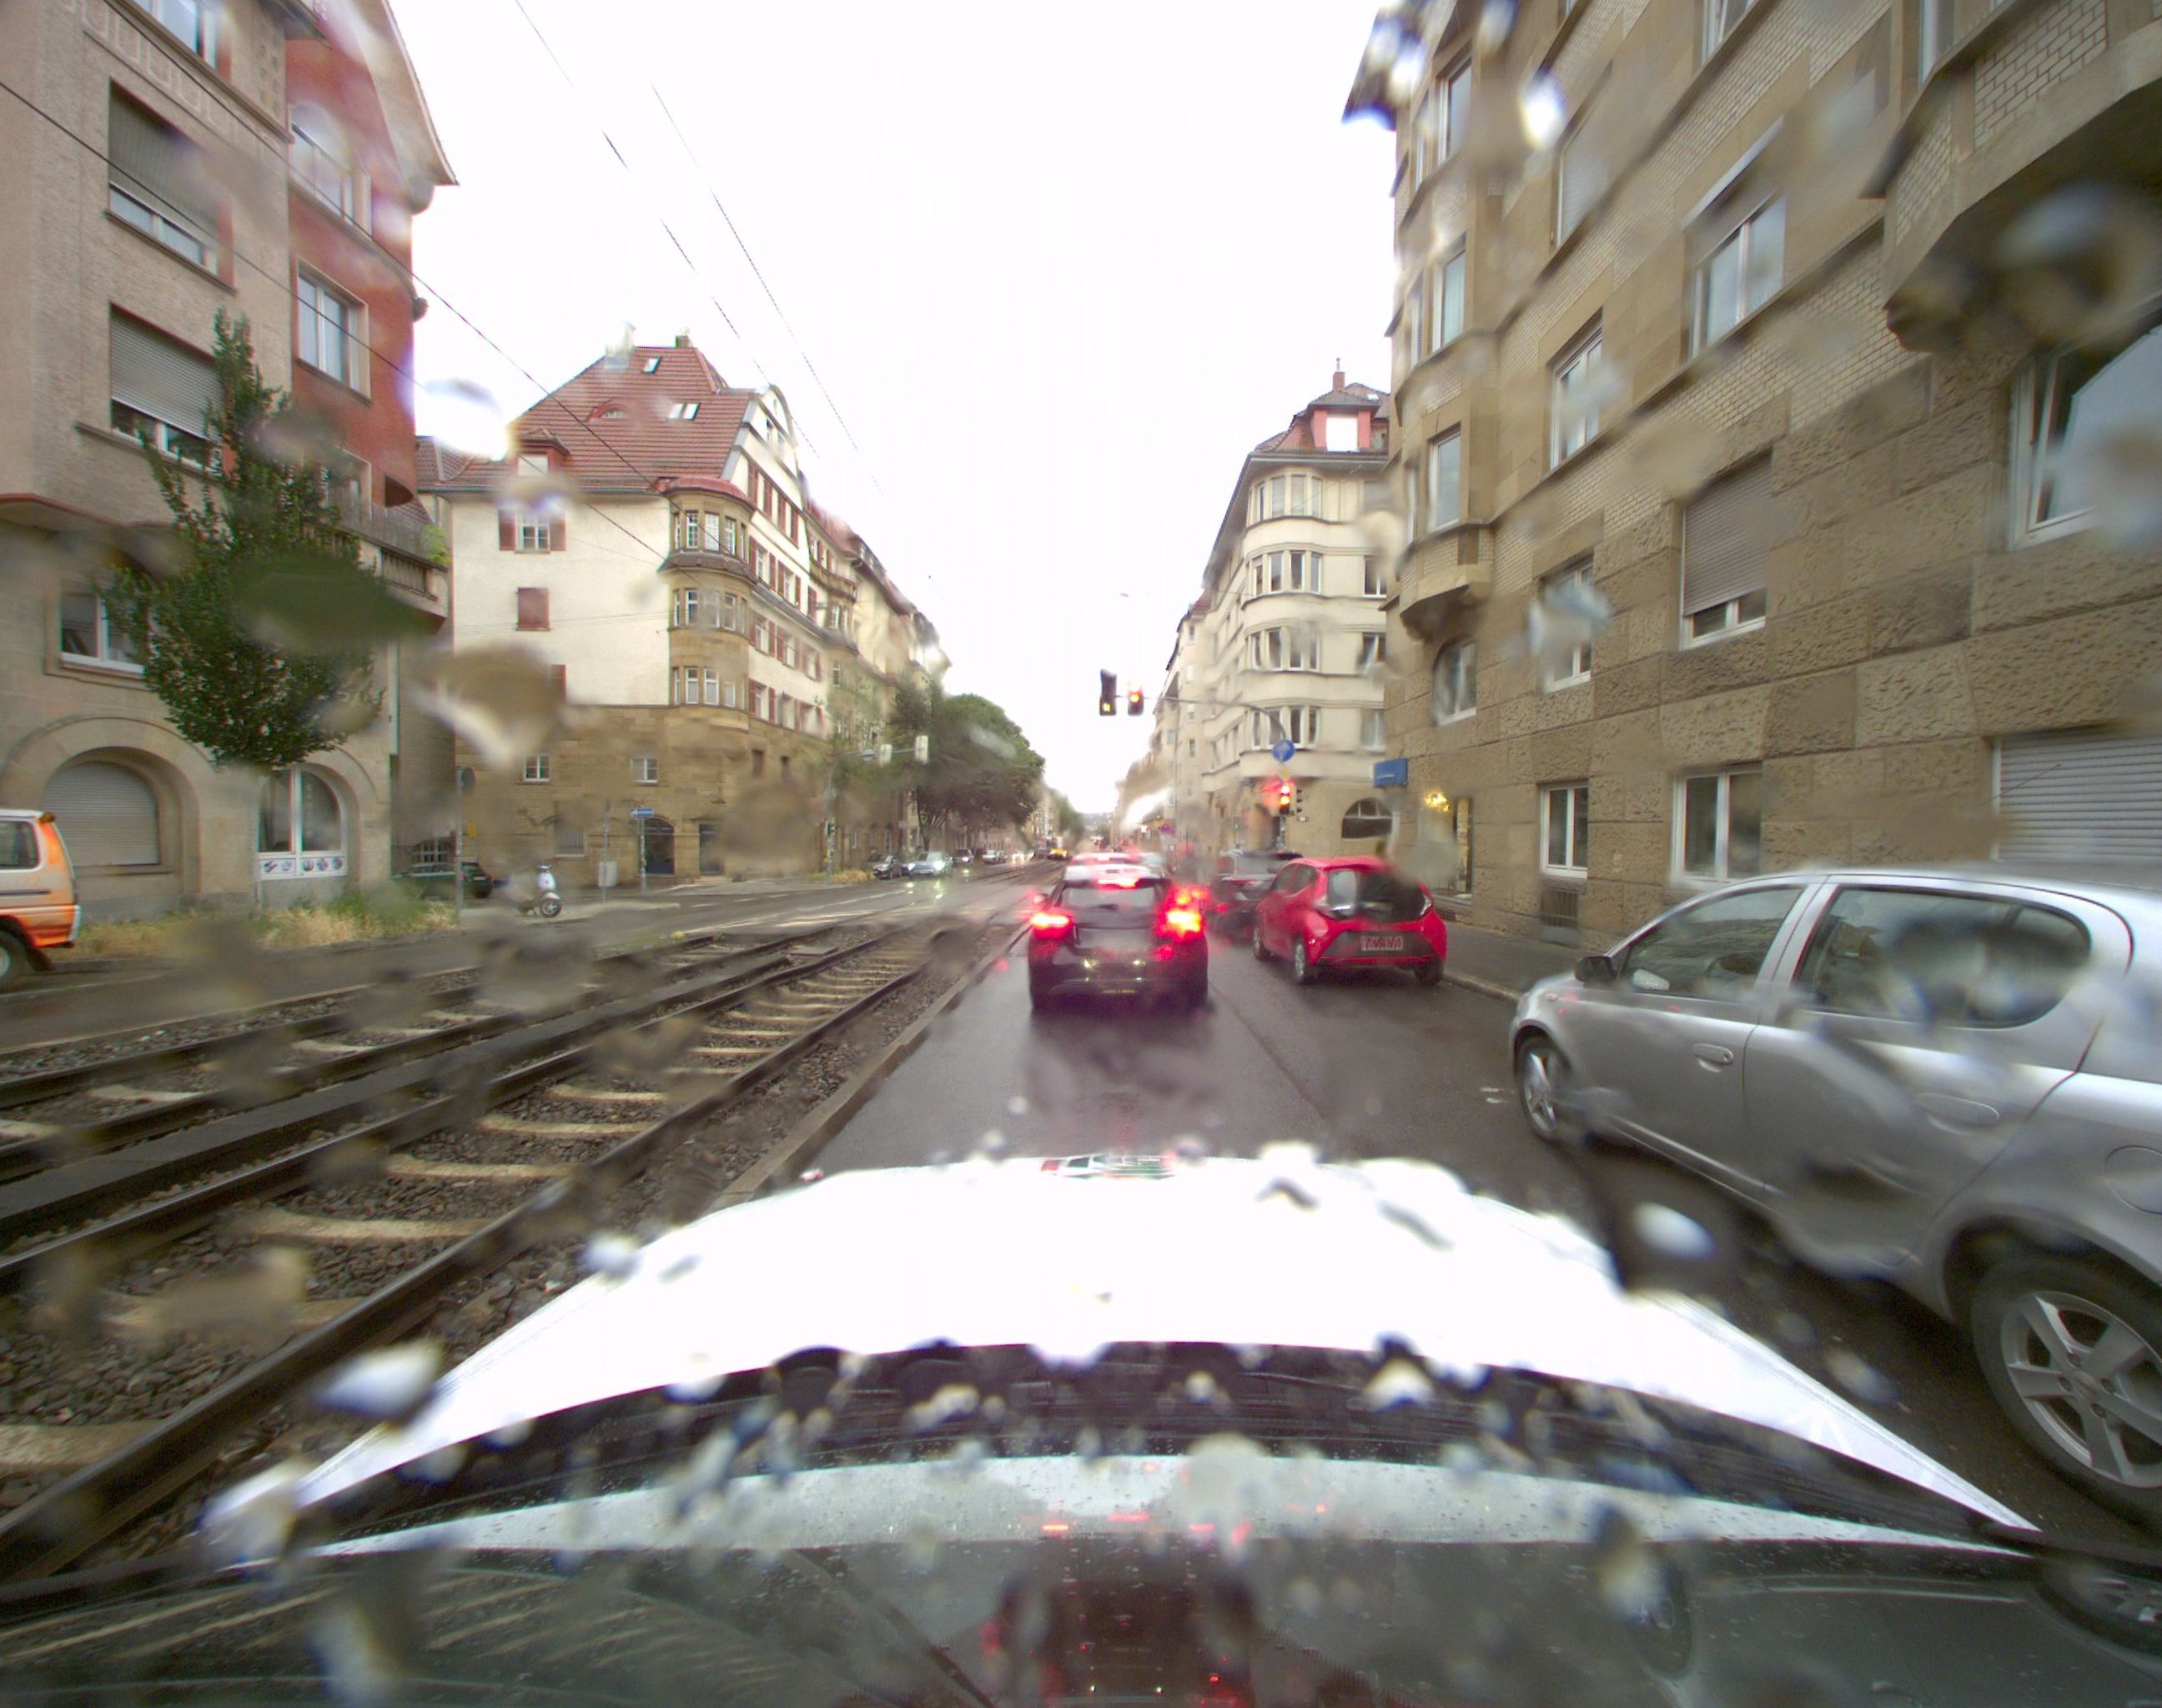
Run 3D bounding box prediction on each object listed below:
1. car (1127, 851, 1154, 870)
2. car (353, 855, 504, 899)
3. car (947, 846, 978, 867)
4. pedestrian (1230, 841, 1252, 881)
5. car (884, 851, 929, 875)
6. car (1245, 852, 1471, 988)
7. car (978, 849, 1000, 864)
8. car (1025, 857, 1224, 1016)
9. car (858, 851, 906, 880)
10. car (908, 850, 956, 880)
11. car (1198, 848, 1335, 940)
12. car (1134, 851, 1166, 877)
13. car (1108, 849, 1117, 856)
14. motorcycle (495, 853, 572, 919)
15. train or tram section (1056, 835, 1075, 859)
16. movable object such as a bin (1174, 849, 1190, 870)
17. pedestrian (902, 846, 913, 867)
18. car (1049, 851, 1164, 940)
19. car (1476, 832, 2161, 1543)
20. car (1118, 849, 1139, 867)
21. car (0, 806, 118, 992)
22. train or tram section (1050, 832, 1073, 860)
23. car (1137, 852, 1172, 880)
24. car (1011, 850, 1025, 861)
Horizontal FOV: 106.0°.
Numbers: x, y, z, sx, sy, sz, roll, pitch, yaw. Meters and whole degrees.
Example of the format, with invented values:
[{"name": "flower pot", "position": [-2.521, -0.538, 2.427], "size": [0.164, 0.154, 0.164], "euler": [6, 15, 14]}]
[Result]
[{"name": "car", "position": [4.488, 0.525, 61.951], "size": [1.783, 1.385, 4.396], "euler": [0, 0, 1]}, {"name": "car", "position": [-24.450, 0.852, 30.627], "size": [3.977, 1.574, 1.998], "euler": [0, -1, -2]}, {"name": "car", "position": [-10.548, 0.166, 72.553], "size": [1.946, 1.742, 4.779], "euler": [3, 1, 0]}, {"name": "pedestrian", "position": [6.847, 0.288, 34.923], "size": [0.801, 1.687, 0.754], "euler": [0, -1, 1]}, {"name": "car", "position": [-10.995, 0.550, 51.662], "size": [1.775, 1.460, 4.978], "euler": [0, 0, 0]}, {"name": "car", "position": [3.341, 0.712, 10.540], "size": [1.700, 1.453, 3.531], "euler": [1, 0, -1]}, {"name": "car", "position": [-10.120, 0.269, 89.887], "size": [1.954, 1.605, 4.329], "euler": [1, 1, 1]}, {"name": "car", "position": [0.459, 0.764, 9.444], "size": [1.828, 1.453, 3.903], "euler": [0, 0, 2]}, {"name": "car", "position": [-11.193, 0.624, 46.106], "size": [1.684, 1.529, 4.175], "euler": [0, -1, 0]}, {"name": "car", "position": [-8.245, 0.602, 45.349], "size": [1.915, 1.617, 4.128], "euler": [0, -1, 0]}, {"name": "car", "position": [3.438, 0.677, 15.815], "size": [1.860, 1.549, 3.992], "euler": [1, 0, 2]}, {"name": "car", "position": [4.115, 0.606, 49.030], "size": [1.705, 1.468, 4.775], "euler": [0, 0, 2]}, {"name": "car", "position": [6.467, -0.289, 167.491], "size": [1.879, 1.525, 4.249], "euler": [1, 0, 3]}, {"name": "motorcycle", "position": [-12.019, 0.677, 17.855], "size": [1.761, 1.375, 0.772], "euler": [-1, -1, 33]}, {"name": "train or tram section", "position": [-2.623, -1.208, 142.533], "size": [2.736, 4.061, 15.663], "euler": [0, 0, 1]}, {"name": "movable object such as a bin", "position": [7.412, 0.412, 59.791], "size": [0.976, 1.468, 1.273], "euler": [0, -1, 1]}, {"name": "pedestrian", "position": [-13.975, 0.215, 65.623], "size": [0.726, 1.663, 0.771], "euler": [0, 0, 1]}, {"name": "car", "position": [0.513, 0.721, 16.232], "size": [1.986, 1.525, 4.247], "euler": [1, 0, 2]}, {"name": "car", "position": [3.094, 0.684, 3.073], "size": [1.588, 1.487, 3.524], "euler": [-1, 0, 2]}, {"name": "car", "position": [4.343, 0.393, 74.433], "size": [1.833, 1.608, 4.765], "euler": [0, -1, 4]}, {"name": "car", "position": [-12.084, 0.466, 7.226], "size": [1.722, 1.930, 4.476], "euler": [0, -1, 0]}, {"name": "train or tram section", "position": [-2.933, -1.188, 126.269], "size": [2.736, 4.061, 17.216], "euler": [0, 0, 1]}, {"name": "car", "position": [3.914, 0.607, 43.664], "size": [1.703, 1.410, 4.821], "euler": [0, 0, 3]}, {"name": "car", "position": [-9.074, 0.218, 117.678], "size": [1.775, 1.502, 4.062], "euler": [0, -1, 0]}]
